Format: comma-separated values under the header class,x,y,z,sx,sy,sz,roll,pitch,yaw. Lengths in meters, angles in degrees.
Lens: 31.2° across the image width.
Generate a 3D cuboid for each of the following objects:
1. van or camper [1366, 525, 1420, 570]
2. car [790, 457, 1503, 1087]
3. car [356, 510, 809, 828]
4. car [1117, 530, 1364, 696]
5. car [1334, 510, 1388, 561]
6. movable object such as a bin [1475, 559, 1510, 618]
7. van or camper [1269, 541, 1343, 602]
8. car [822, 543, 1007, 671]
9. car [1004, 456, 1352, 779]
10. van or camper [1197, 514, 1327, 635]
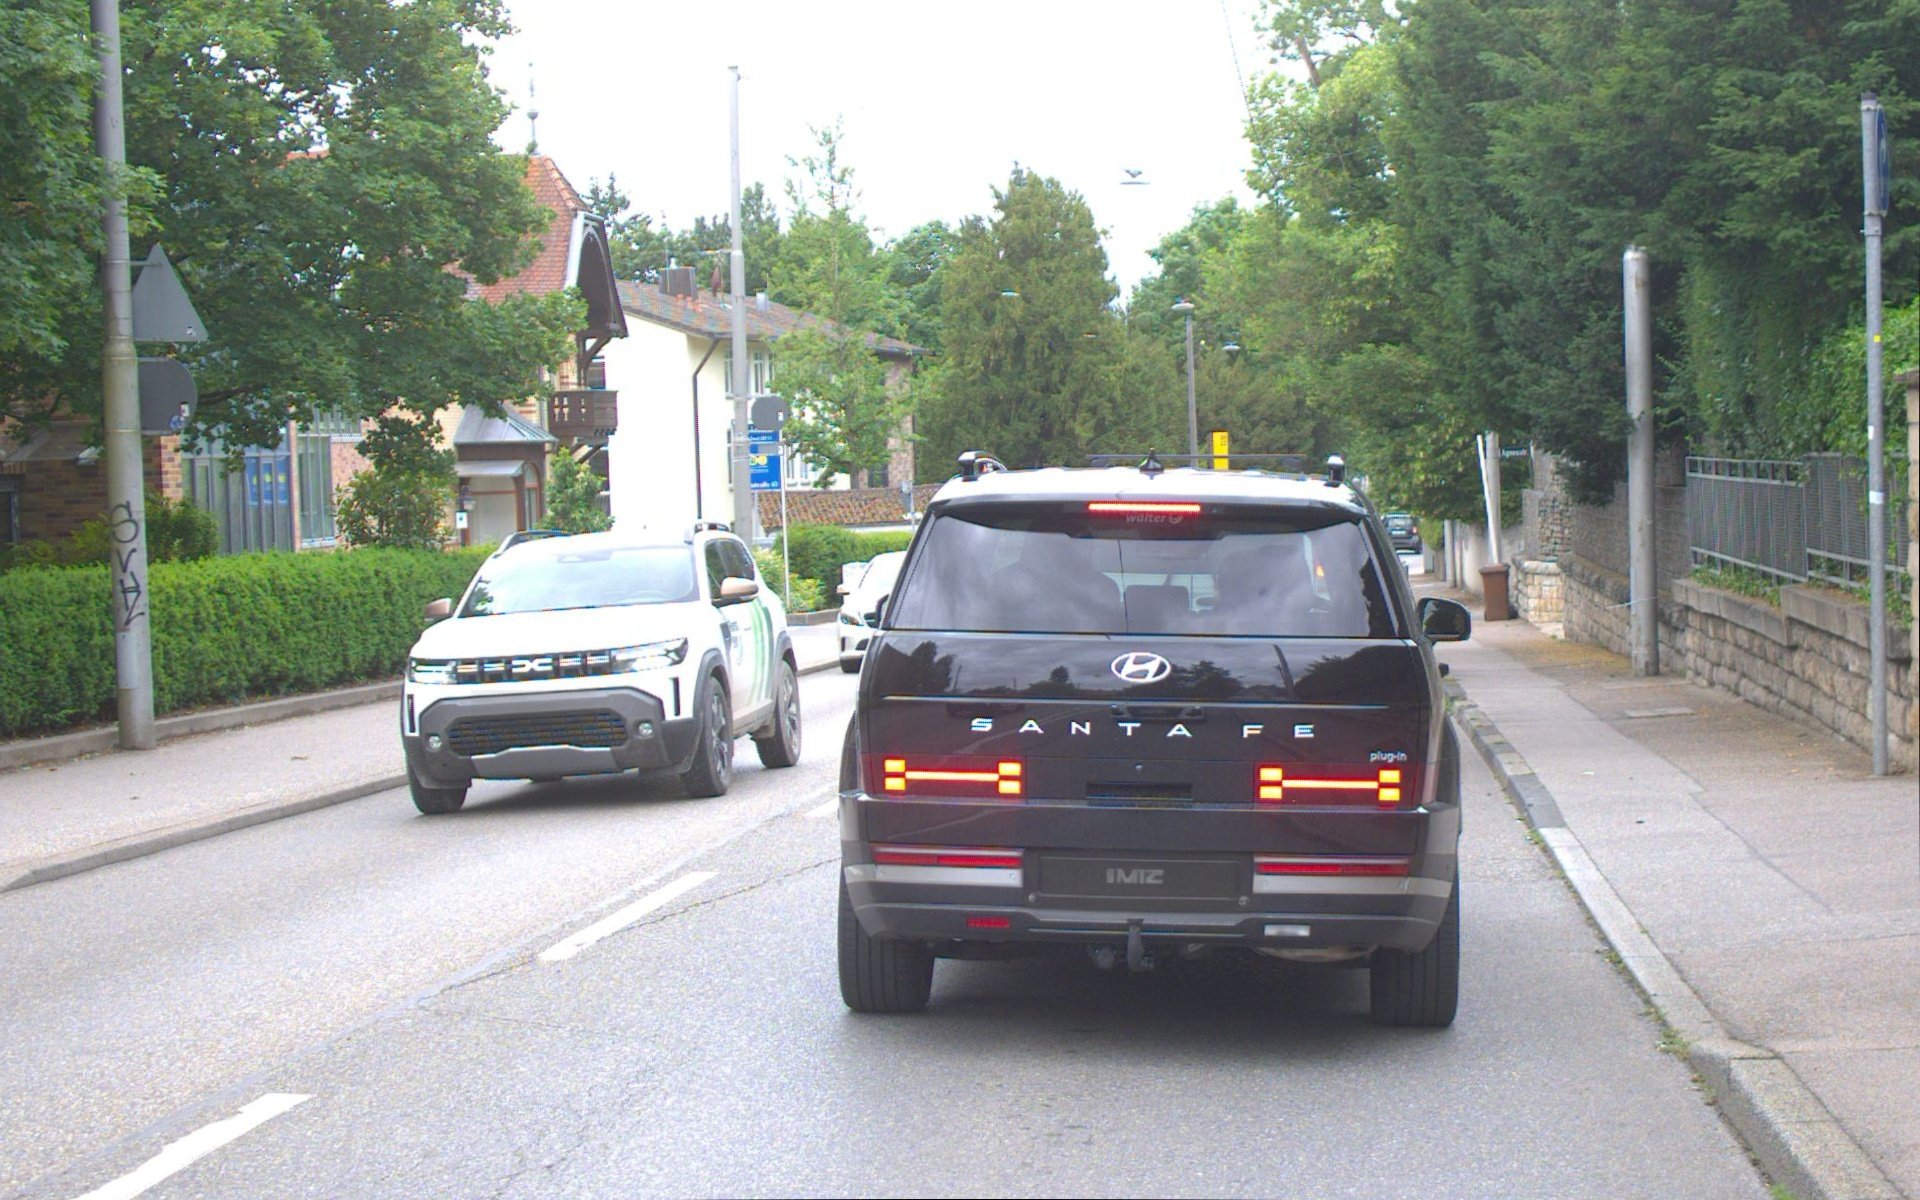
class,x,y,z,sx,sy,sz,roll,pitch,yaw
van or camper,16.658,-2.033,132.278,1.994,1.646,3.999,-2,1,7
car,0.745,0.420,11.714,1.957,1.707,4.222,1,2,6
car,-2.175,0.342,21.038,1.769,1.632,4.301,-4,1,6
car,2.742,0.080,32.817,1.994,1.399,3.999,-2,1,9
car,13.643,-2.165,116.836,1.645,1.555,3.648,-1,-1,9
movable object such as a bin,8.519,-0.188,55.026,0.445,0.906,0.394,-4,2,16
van or camper,10.085,-0.847,99.919,1.994,1.646,3.999,-2,1,7
car,-0.507,0.052,42.564,1.767,1.417,4.065,-3,1,6
car,1.554,0.060,22.950,1.958,1.949,4.222,0,1,9
van or camper,5.148,-0.459,58.181,1.994,1.881,3.999,-3,1,7
